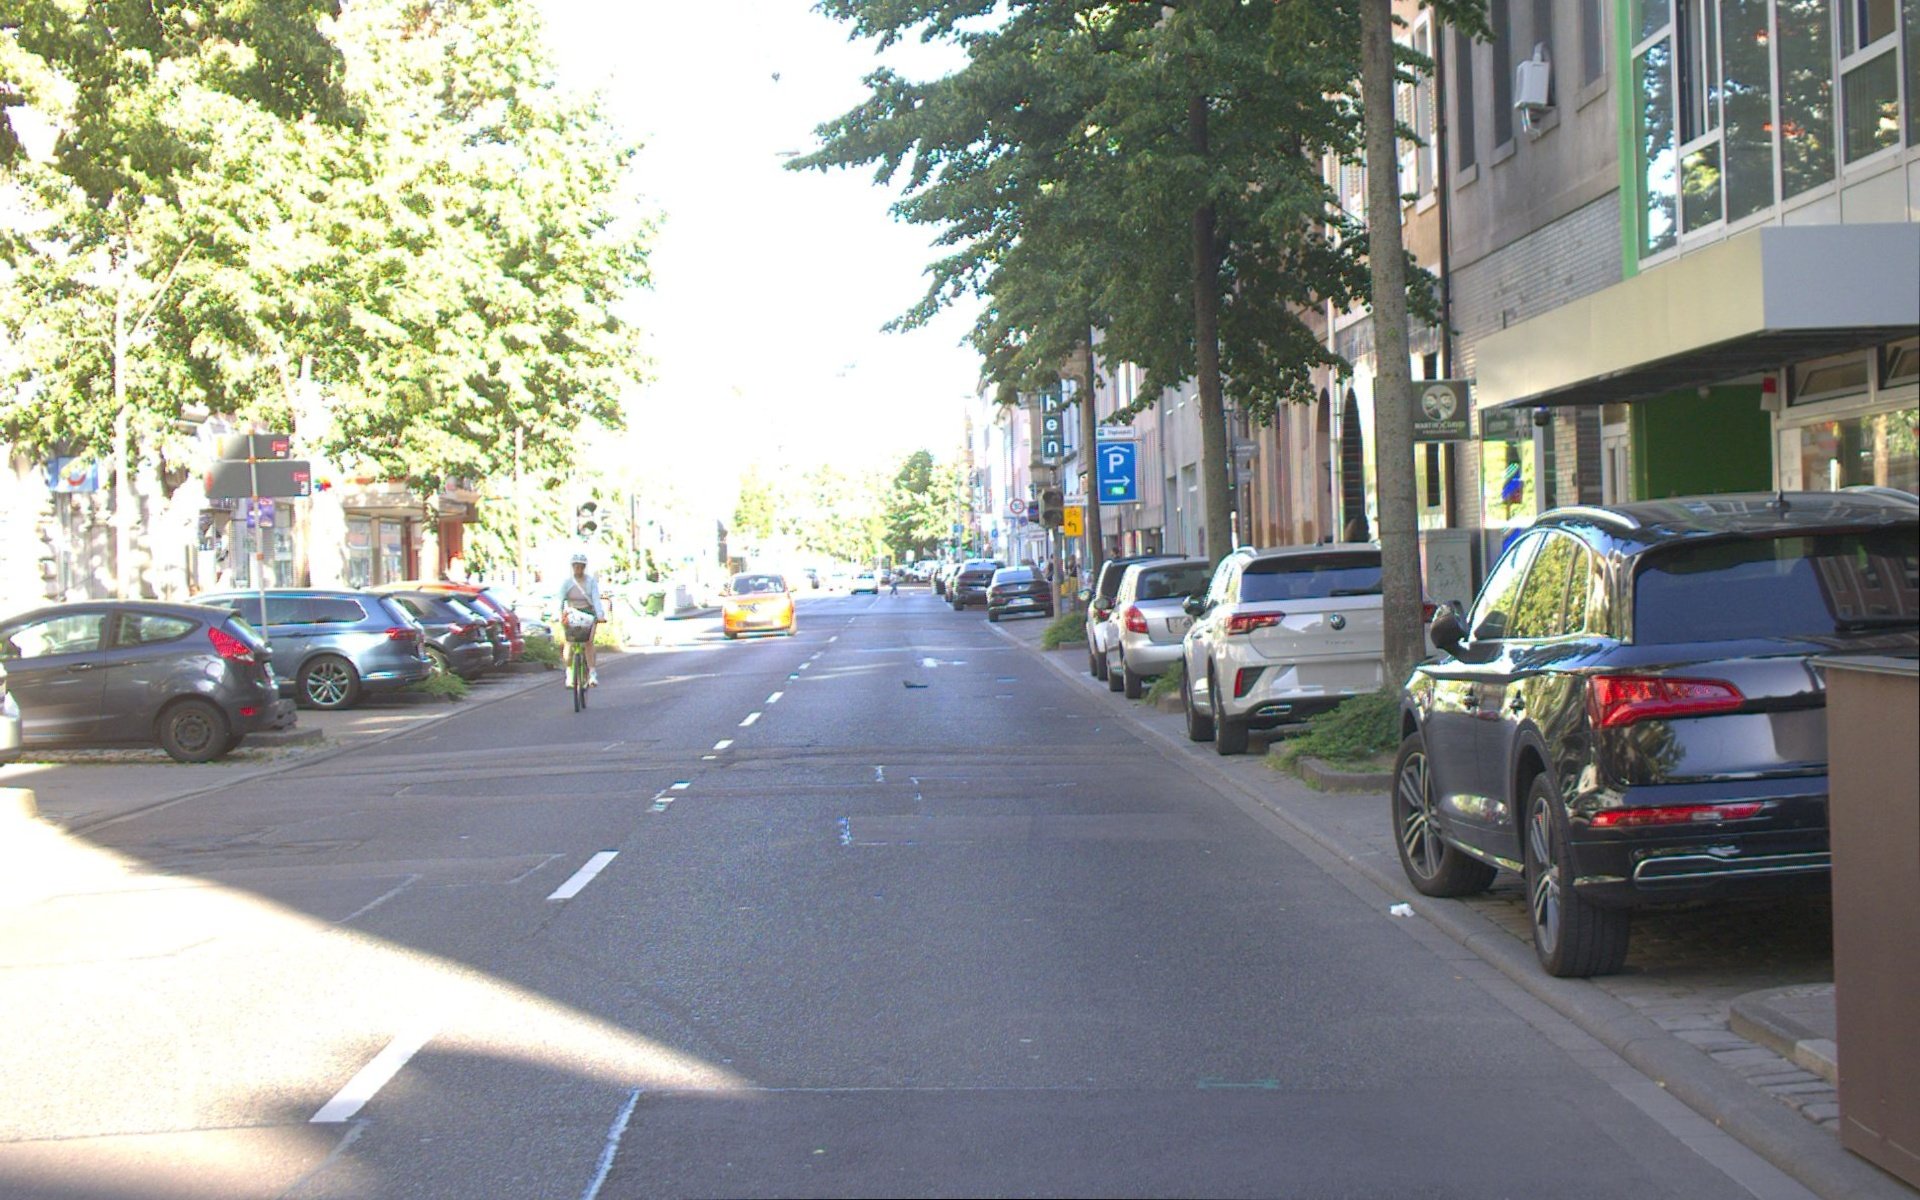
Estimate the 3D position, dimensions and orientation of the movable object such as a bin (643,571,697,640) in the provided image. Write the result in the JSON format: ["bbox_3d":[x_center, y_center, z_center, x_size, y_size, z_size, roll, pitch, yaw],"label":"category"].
[{"bbox_3d":[-6.376,0.115,75.710,1.042,1.466,1.453,-3,1,-2],"label":"movable object such as a bin"}]

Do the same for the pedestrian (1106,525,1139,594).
[{"bbox_3d":[3.818,-0.950,80.858,0.580,1.554,1.021,-5,1,-2],"label":"pedestrian"}]

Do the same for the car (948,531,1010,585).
[{"bbox_3d":[0.614,-1.414,114.526,1.973,1.719,4.824,-1,1,-1],"label":"car"}]

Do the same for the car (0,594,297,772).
[{"bbox_3d":[-7.972,0.743,30.988,3.779,1.453,1.781,-2,1,-8],"label":"car"}]

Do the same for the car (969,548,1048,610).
[{"bbox_3d":[1.316,-0.610,95.004,1.917,1.473,4.965,-6,1,0],"label":"car"}]

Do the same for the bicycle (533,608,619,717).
[{"bbox_3d":[-4.449,0.707,39.986,0.725,1.165,2.197,-2,1,0],"label":"bicycle"}]

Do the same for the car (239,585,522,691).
[{"bbox_3d":[-8.563,0.558,51.032,3.841,1.424,1.789,-2,1,1],"label":"car"}]

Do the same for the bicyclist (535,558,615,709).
[{"bbox_3d":[-4.462,0.375,39.898,0.725,1.694,1.282,-2,1,0],"label":"bicyclist"}]

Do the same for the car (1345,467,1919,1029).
[{"bbox_3d":[2.871,0.414,13.331,1.993,1.684,4.517,-5,1,-1],"label":"car"}]

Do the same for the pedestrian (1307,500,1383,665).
[{"bbox_3d":[4.246,-0.193,37.925,0.623,1.759,0.771,-5,1,0],"label":"pedestrian"}]

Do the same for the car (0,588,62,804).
[{"bbox_3d":[-8.710,0.723,24.287,4.244,1.453,1.980,-2,1,-4],"label":"car"}]

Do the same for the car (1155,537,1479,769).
[{"bbox_3d":[2.692,0.348,26.872,1.883,1.521,4.234,-4,1,-1],"label":"car"}]

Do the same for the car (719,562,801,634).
[{"bbox_3d":[-4.708,-0.071,81.260,1.658,1.530,3.760,-4,1,-1],"label":"car"}]

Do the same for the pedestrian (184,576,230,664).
[{"bbox_3d":[-12.299,0.327,56.167,0.508,1.403,0.825,-1,1,3],"label":"pedestrian"}]

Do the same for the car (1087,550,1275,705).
[{"bbox_3d":[2.459,0.264,39.189,1.614,1.523,4.235,-5,1,-2],"label":"car"}]

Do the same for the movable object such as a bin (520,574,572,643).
[{"bbox_3d":[-9.124,0.188,75.792,0.964,1.466,1.143,-2,0,-2],"label":"movable object such as a bin"}]

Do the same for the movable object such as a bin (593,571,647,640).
[{"bbox_3d":[-7.472,0.115,75.532,1.042,1.466,1.143,-3,1,-2],"label":"movable object such as a bin"}]

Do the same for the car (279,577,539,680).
[{"bbox_3d":[-8.550,0.433,53.564,3.748,1.463,1.740,-2,1,-1],"label":"car"}]

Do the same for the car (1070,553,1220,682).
[{"bbox_3d":[2.402,0.201,45.143,1.613,1.523,3.061,-4,1,-2],"label":"car"}]

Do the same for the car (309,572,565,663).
[{"bbox_3d":[-9.250,0.296,60.994,4.203,1.463,1.739,-2,1,2],"label":"car"}]

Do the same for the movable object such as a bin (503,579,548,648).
[{"bbox_3d":[-8.663,0.267,68.600,0.754,1.336,0.805,-3,1,-2],"label":"movable object such as a bin"}]

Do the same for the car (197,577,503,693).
[{"bbox_3d":[-8.528,0.474,48.285,3.919,1.480,1.771,-2,1,1],"label":"car"}]

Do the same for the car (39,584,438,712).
[{"bbox_3d":[-8.718,0.562,41.811,4.492,1.454,1.790,-1,1,-2],"label":"car"}]
